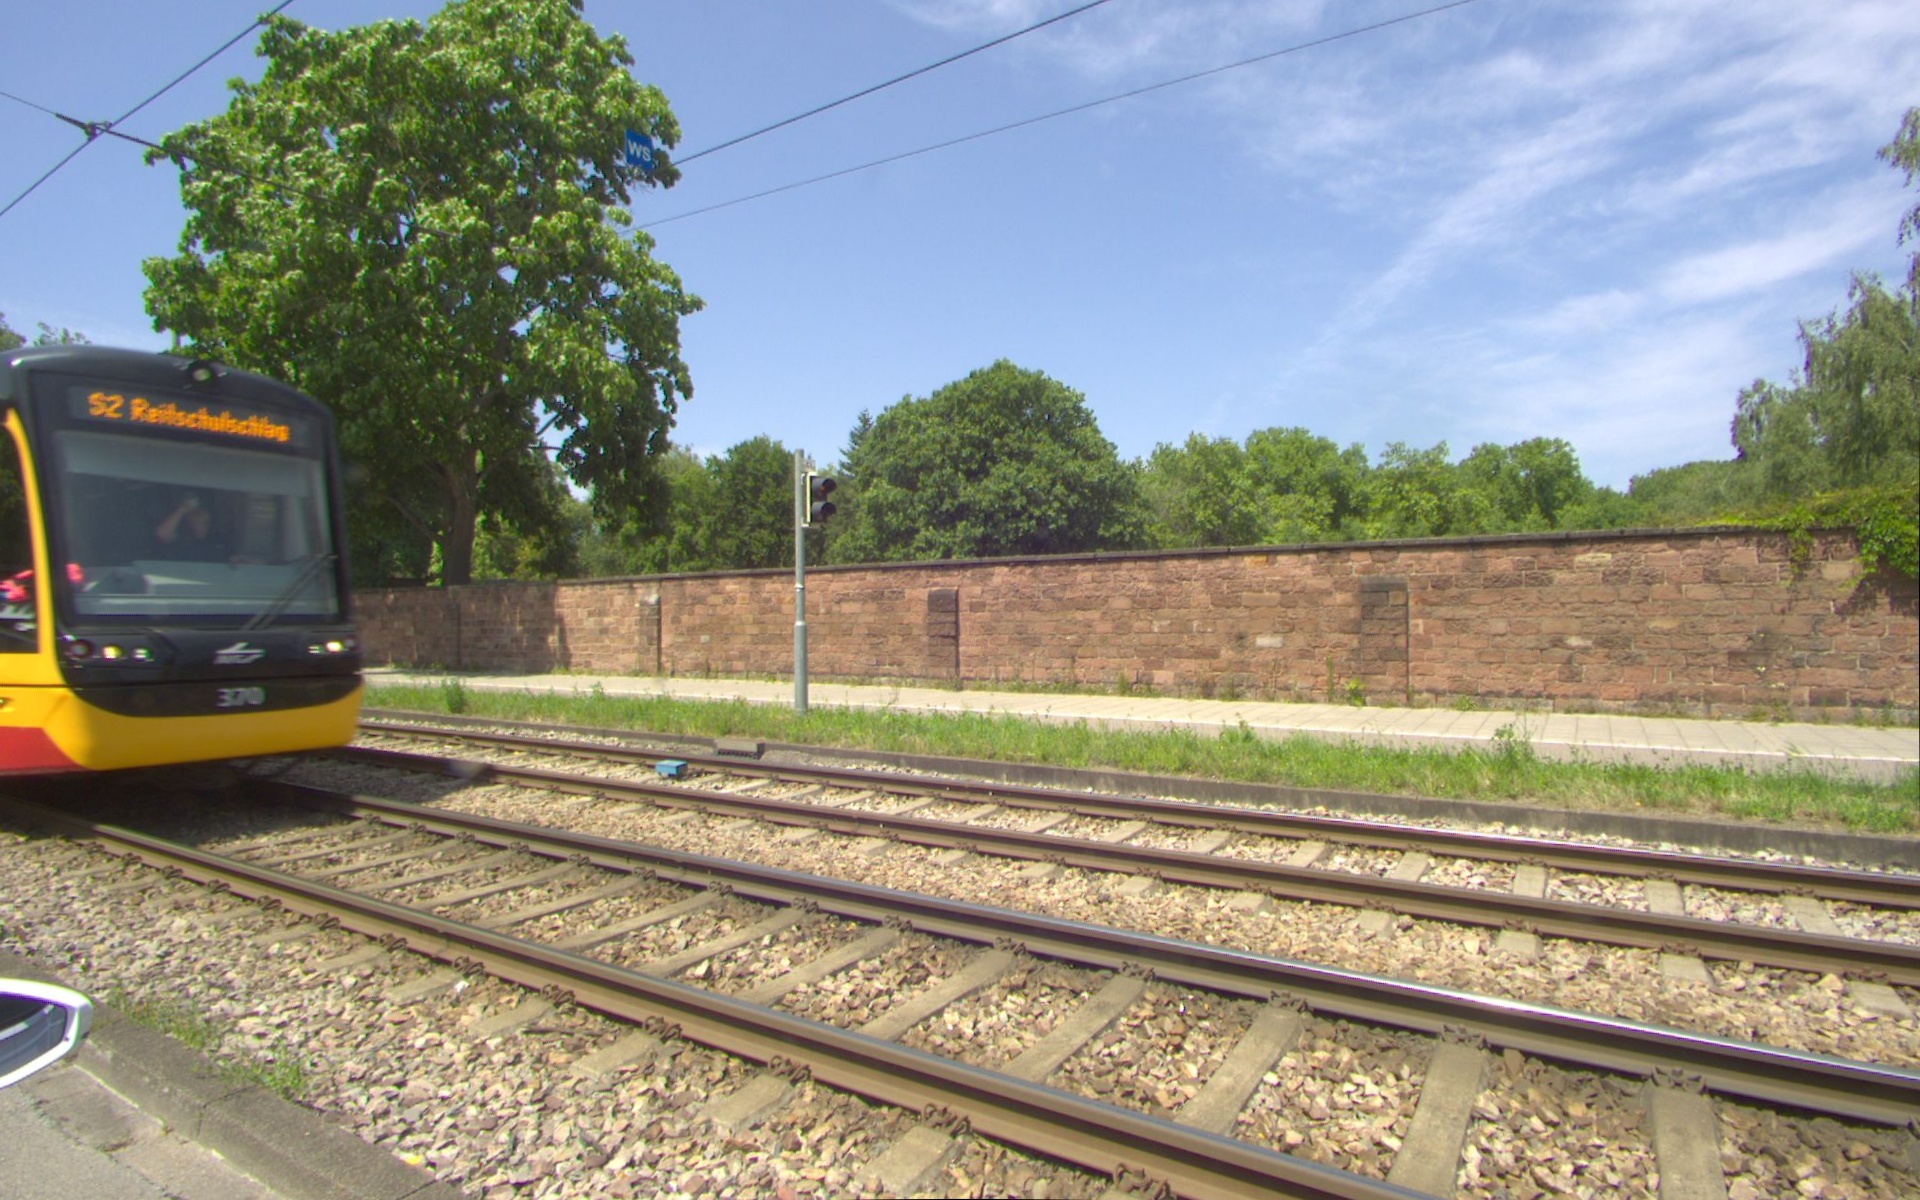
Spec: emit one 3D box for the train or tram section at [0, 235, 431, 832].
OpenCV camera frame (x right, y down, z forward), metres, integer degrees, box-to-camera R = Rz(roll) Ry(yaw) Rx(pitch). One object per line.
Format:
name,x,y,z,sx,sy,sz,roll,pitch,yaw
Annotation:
train or tram section,-10.510,-0.282,10.692,12.688,3.655,2.736,-1,-2,33
